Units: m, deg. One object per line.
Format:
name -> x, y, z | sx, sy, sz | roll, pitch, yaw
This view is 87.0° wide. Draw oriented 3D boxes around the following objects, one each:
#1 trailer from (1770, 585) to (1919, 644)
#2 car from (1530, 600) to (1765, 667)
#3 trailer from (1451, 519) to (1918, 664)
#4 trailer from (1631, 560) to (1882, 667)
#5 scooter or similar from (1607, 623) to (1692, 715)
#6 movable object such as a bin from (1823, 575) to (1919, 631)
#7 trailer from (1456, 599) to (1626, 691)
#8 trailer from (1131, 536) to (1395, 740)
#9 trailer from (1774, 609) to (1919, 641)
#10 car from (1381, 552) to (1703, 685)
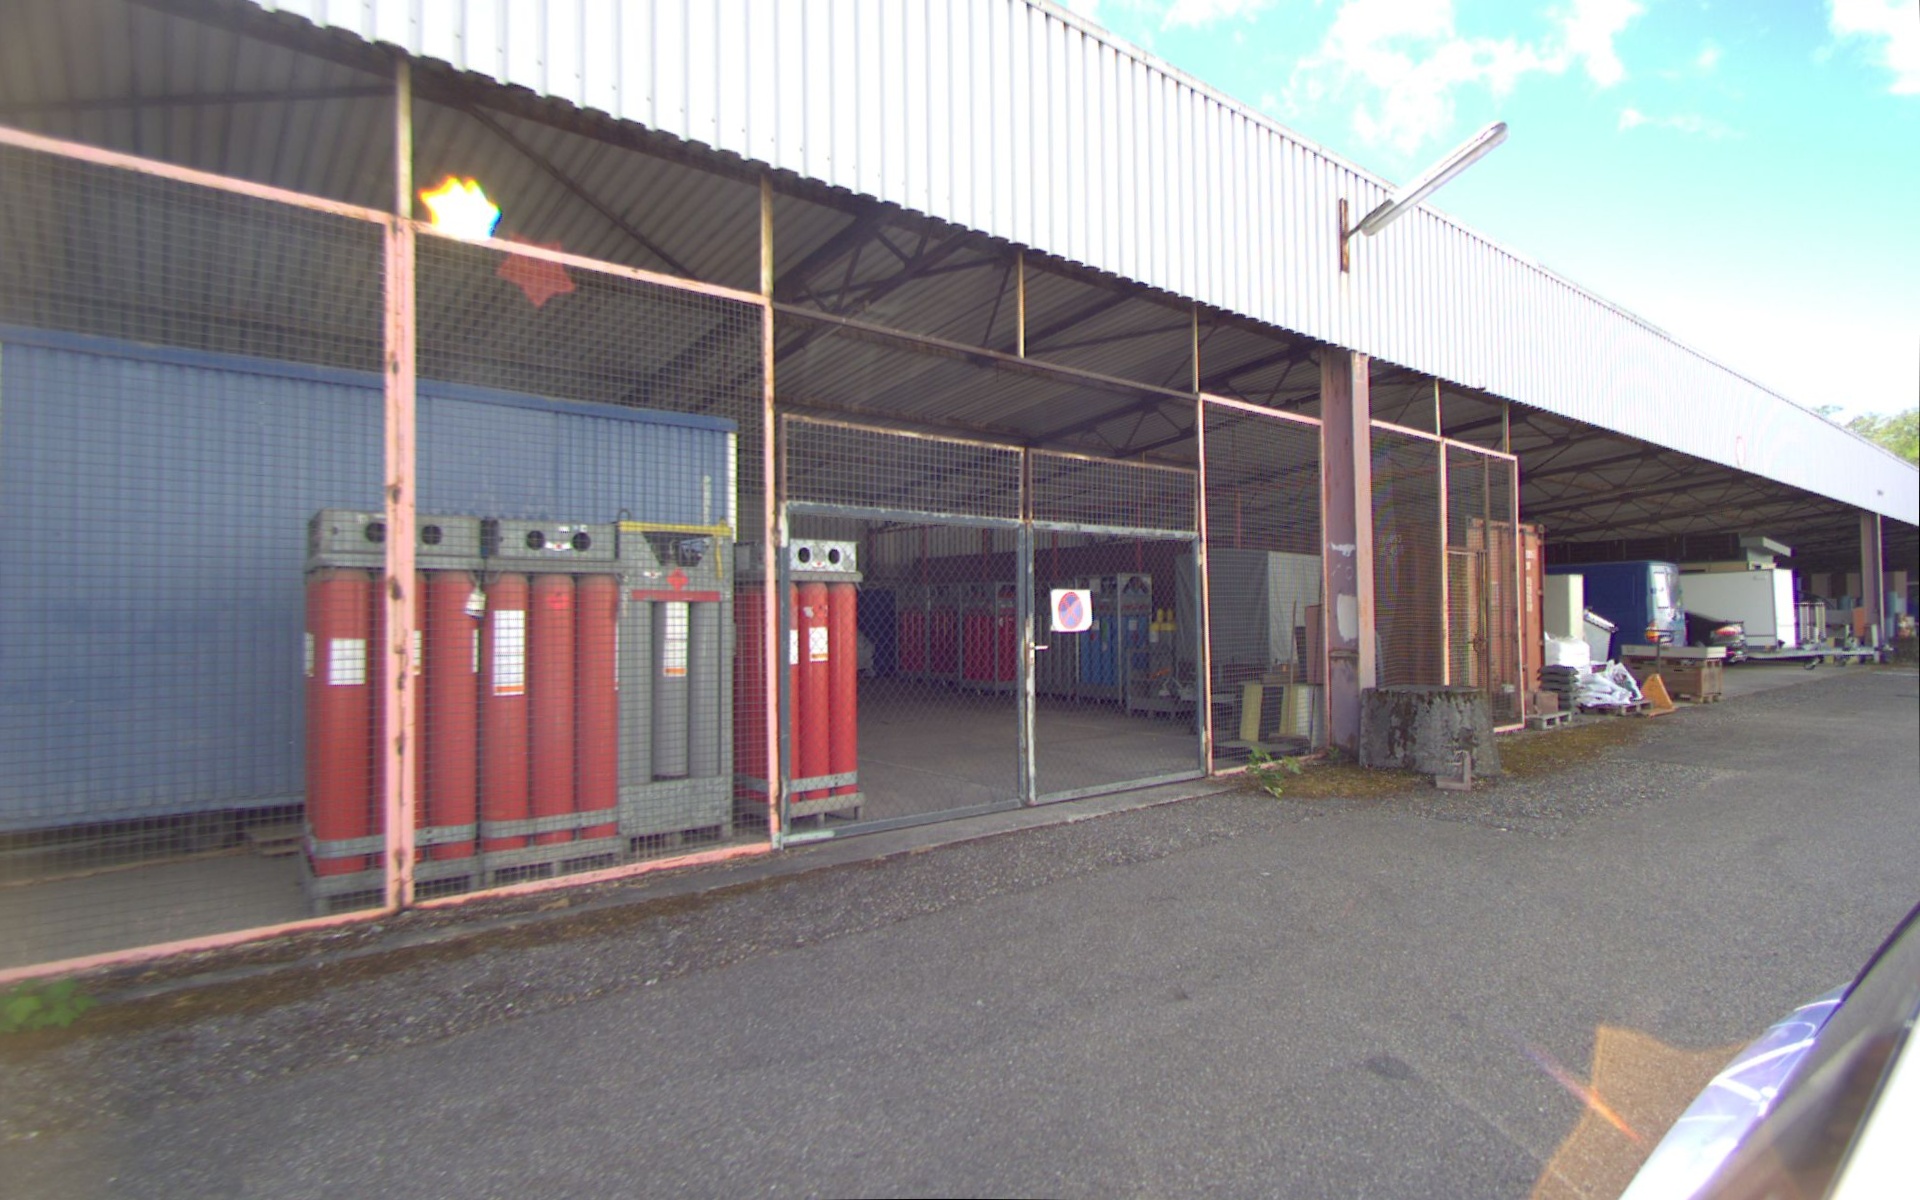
trailer -> 32.639, 0.484, 36.611 | 2.008, 2.022, 4.832 | 0, 0, -36
car -> 16.320, 0.727, 24.186 | 1.833, 1.451, 4.350 | 0, 0, -42
trailer -> 19.490, -0.210, 28.292 | 2.626, 3.337, 10.318 | 0, 0, -38
trailer -> 19.222, 0.295, 24.637 | 1.658, 2.365, 4.553 | 0, 0, -38
scooter or similar -> 9.441, 0.905, 13.838 | 1.564, 1.149, 0.521 | -1, -1, -40
movable object such as a bin -> 47.556, 0.177, 52.043 | 1.964, 2.757, 4.623 | 2, -1, -40
trailer -> 10.225, 0.748, 17.869 | 1.611, 1.481, 2.100 | -1, 0, -36
trailer -> 3.823, 0.389, 12.537 | 3.461, 2.170, 1.579 | 0, 0, -42
trailer -> 35.072, 0.947, 38.804 | 1.973, 1.147, 5.744 | 0, -1, -40
car -> 11.498, 0.351, 20.384 | 2.047, 2.327, 5.226 | 0, -1, -39
